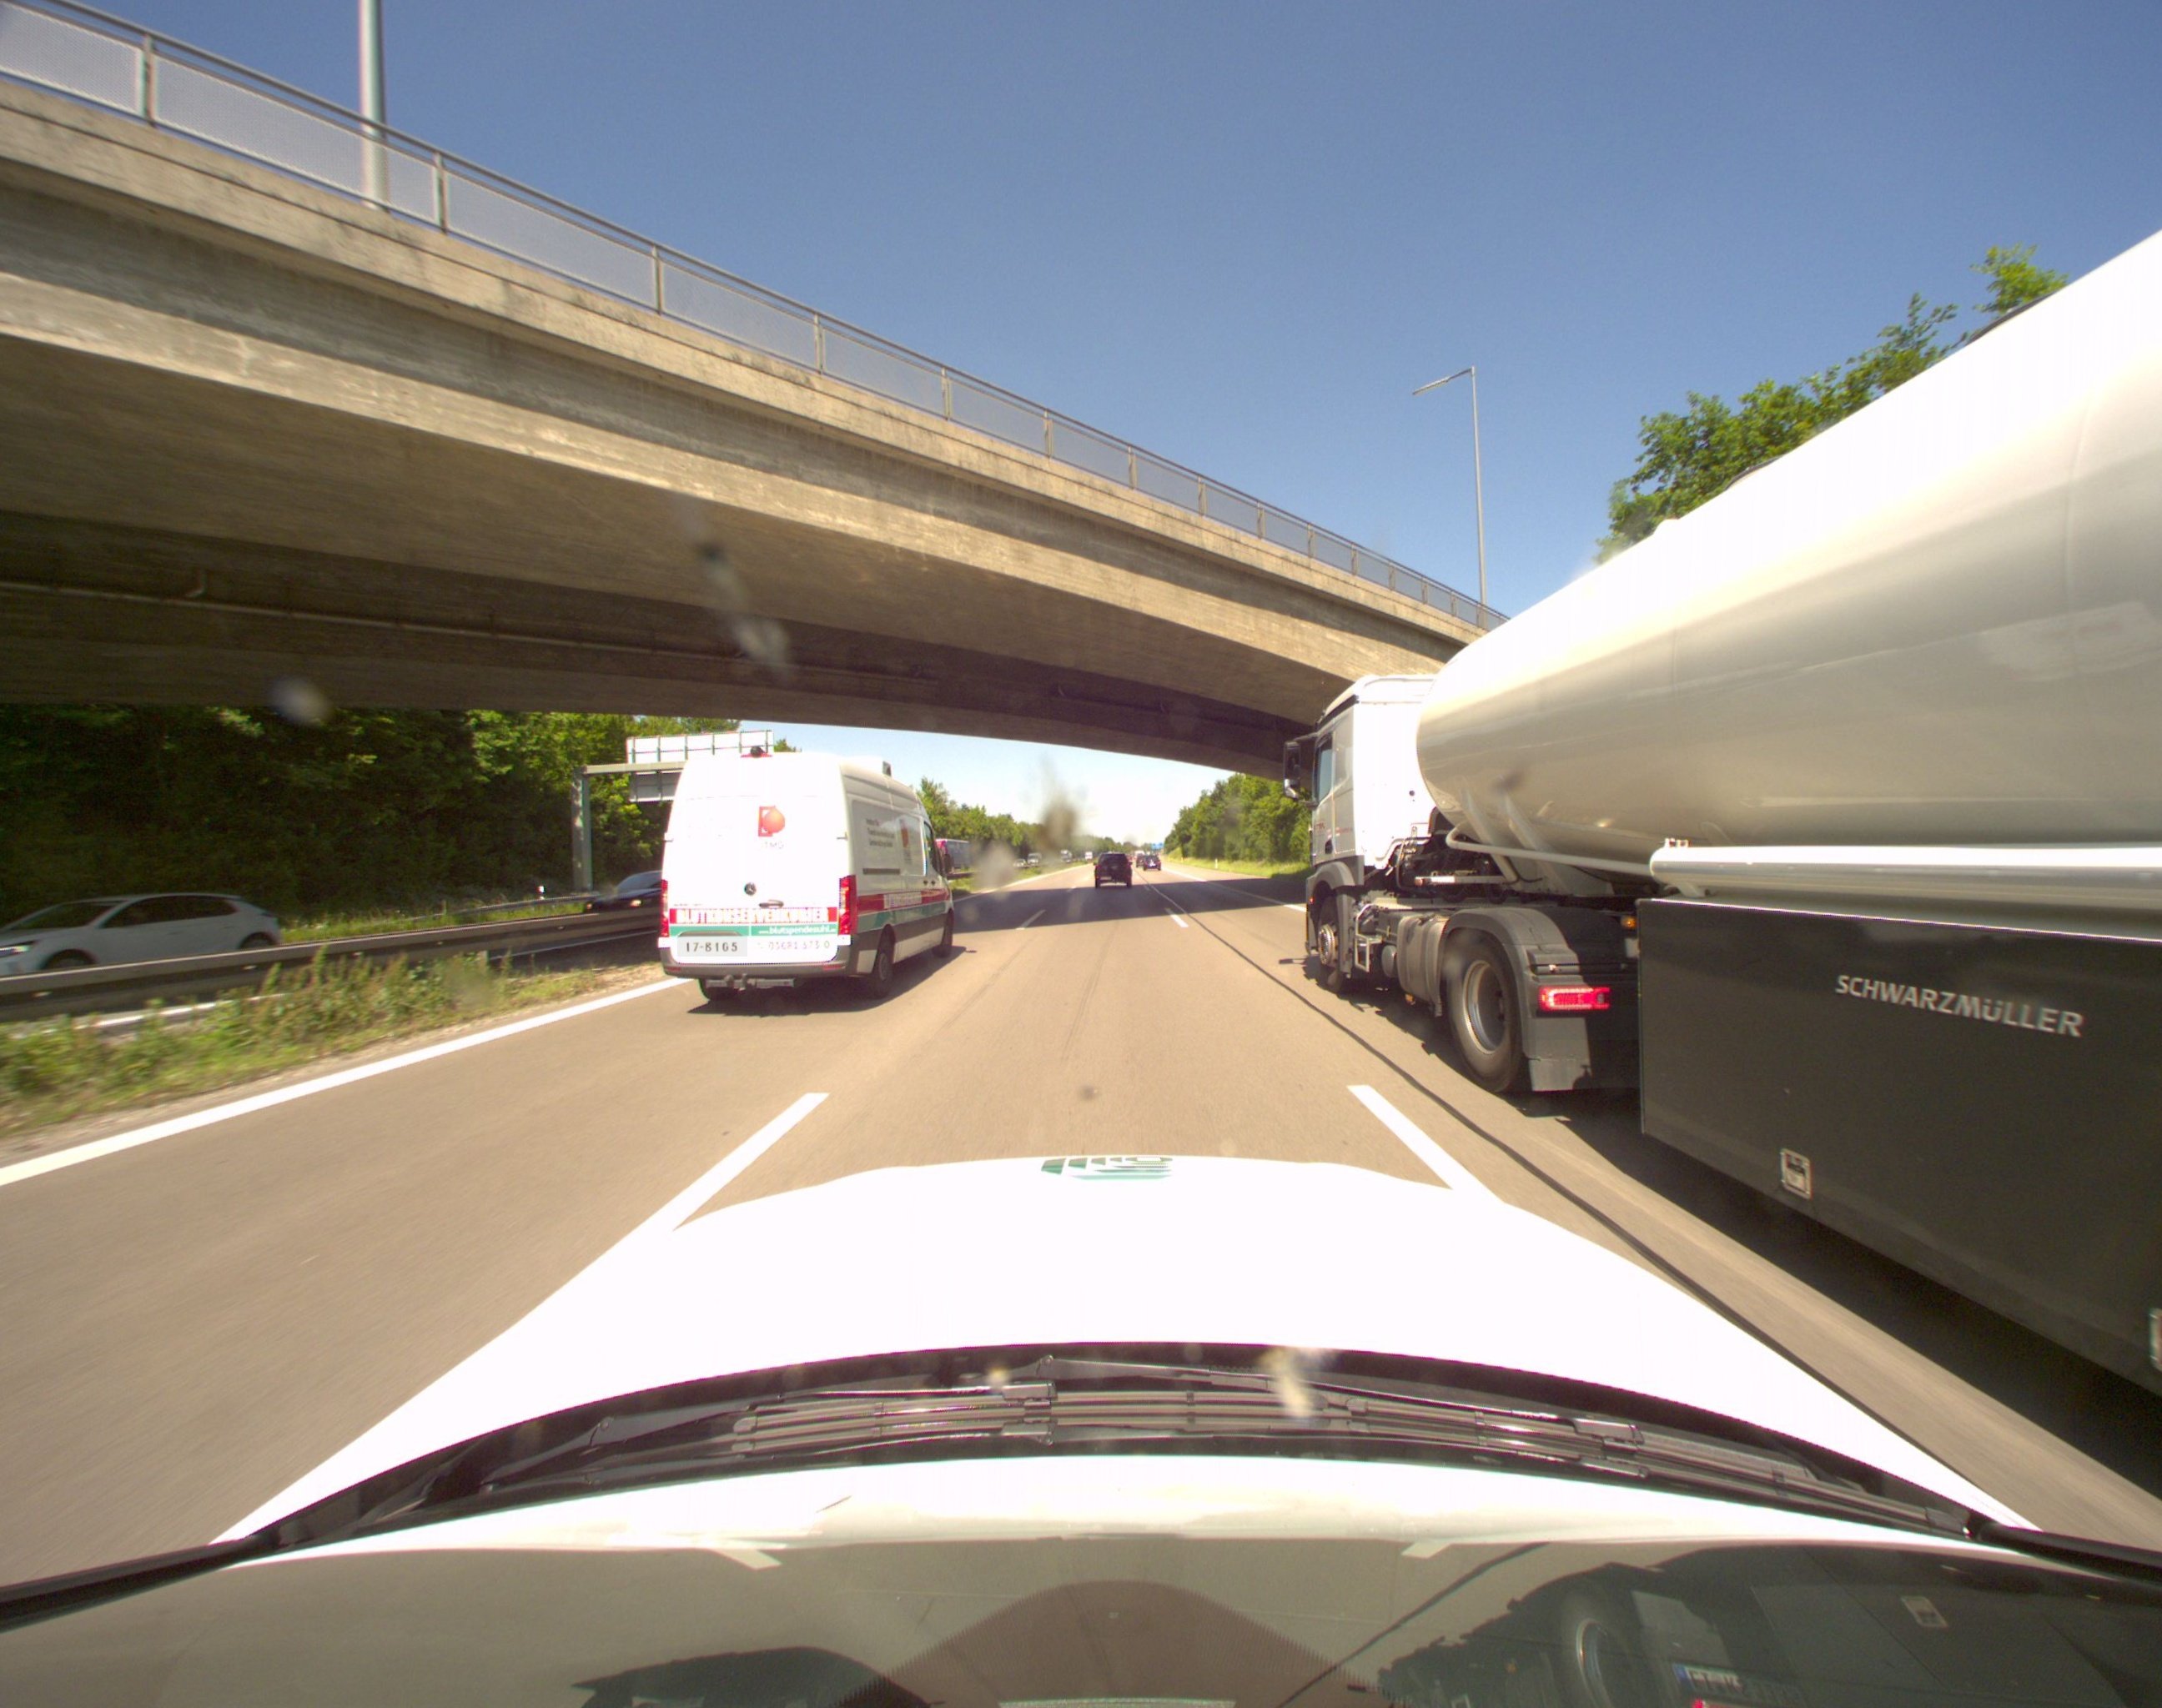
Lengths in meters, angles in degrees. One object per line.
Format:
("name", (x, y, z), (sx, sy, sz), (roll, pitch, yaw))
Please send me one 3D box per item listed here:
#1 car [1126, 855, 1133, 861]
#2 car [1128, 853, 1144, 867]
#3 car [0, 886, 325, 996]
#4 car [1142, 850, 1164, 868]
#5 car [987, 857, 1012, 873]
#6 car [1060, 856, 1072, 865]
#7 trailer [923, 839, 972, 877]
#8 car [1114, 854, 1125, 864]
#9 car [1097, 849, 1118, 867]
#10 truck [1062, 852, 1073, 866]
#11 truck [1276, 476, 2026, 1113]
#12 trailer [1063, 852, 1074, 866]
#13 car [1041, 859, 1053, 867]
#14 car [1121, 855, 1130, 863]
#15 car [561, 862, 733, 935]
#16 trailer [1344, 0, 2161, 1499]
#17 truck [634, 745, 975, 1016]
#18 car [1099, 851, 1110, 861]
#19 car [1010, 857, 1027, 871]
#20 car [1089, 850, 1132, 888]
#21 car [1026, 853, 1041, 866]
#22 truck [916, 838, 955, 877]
("car", (15.227, 1.293, 255.835), (1.806, 1.746, 4.000), (-2, 0, 0))
("car", (6.780, 0.795, 101.093), (1.835, 1.611, 4.001), (-2, -1, 2))
("car", (-15.239, 1.323, 13.184), (1.768, 1.302, 4.370), (-4, 0, 1))
("car", (7.119, 0.516, 80.860), (1.986, 1.684, 4.002), (-2, -1, 2))
("car", (-8.487, 1.144, 85.100), (1.874, 1.483, 4.437), (-2, 0, 2))
("car", (-3.169, 1.359, 172.352), (1.984, 1.608, 4.653), (-2, 0, 4))
("trailer", (-15.879, 0.446, 98.228), (2.774, 4.040, 13.556), (-4, 0, 3))
("car", (7.791, 0.968, 165.625), (1.986, 2.013, 4.769), (-2, 0, 1))
("car", (2.722, 0.453, 84.088), (1.986, 1.706, 4.337), (-3, 0, 1))
("truck", (-4.054, 1.510, 251.396), (2.721, 3.882, 6.324), (-4, 0, 2))
("truck", (3.816, -0.308, 7.616), (2.627, 3.374, 6.491), (-1, 0, 2))
("trailer", (-3.878, 1.573, 257.520), (2.755, 3.882, 9.462), (-4, 0, 2))
("car", (-5.861, 1.569, 141.019), (1.718, 1.375, 4.547), (-2, 0, 2))
("car", (10.985, 1.181, 199.764), (1.987, 1.750, 4.205), (-2, 0, 1))
("car", (-10.611, 1.008, 20.349), (1.768, 1.473, 4.421), (-4, 0, 1))
("trailer", (3.647, -0.313, 1.952), (2.638, 3.390, 11.154), (-1, 0, 1))
("truck", (-3.040, 0.252, 10.999), (1.985, 2.542, 6.697), (0, 0, 3))
("car", (5.015, 0.478, 172.417), (1.984, 2.013, 4.956), (-3, 0, 5))
("car", (-9.915, 1.663, 128.864), (1.986, 2.096, 5.252), (-2, -1, 2))
("car", (1.368, 0.686, 39.382), (1.900, 1.665, 3.999), (-2, 0, 0))
("car", (-8.476, 0.972, 145.617), (1.985, 2.235, 6.521), (-2, -1, 3))
("truck", (-16.180, 0.383, 91.121), (2.774, 4.060, 6.213), (-4, 0, 2))
